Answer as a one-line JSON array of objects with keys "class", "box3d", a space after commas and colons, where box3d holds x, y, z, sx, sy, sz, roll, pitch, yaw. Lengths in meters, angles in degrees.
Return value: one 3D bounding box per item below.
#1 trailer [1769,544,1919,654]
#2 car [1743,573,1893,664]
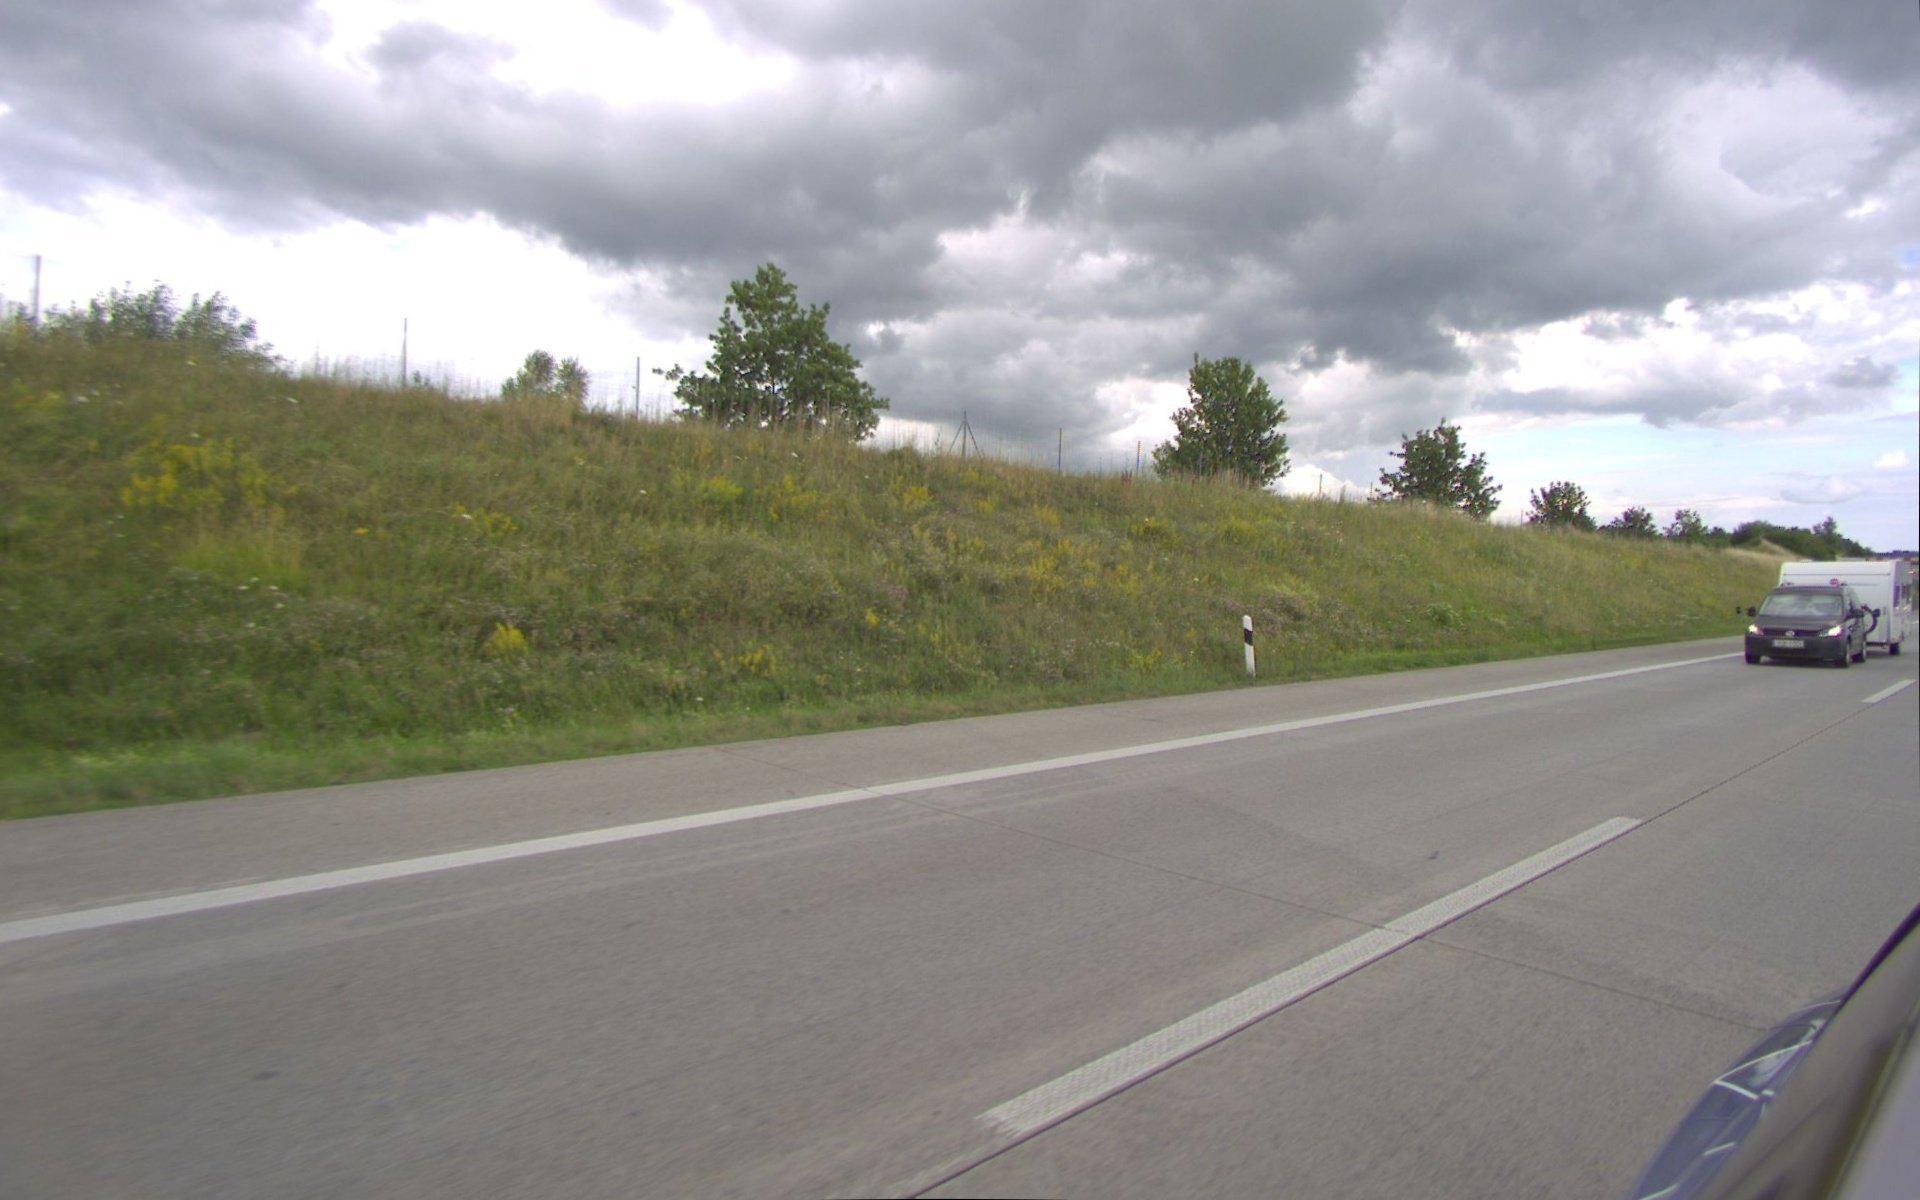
[{"class": "trailer", "box3d": [23.770, -0.086, 26.787, 6.606, 2.566, 2.612, -1, 1, -42]}, {"class": "car", "box3d": [19.488, 0.322, 22.906, 4.946, 1.832, 1.942, -1, 2, -42]}]
